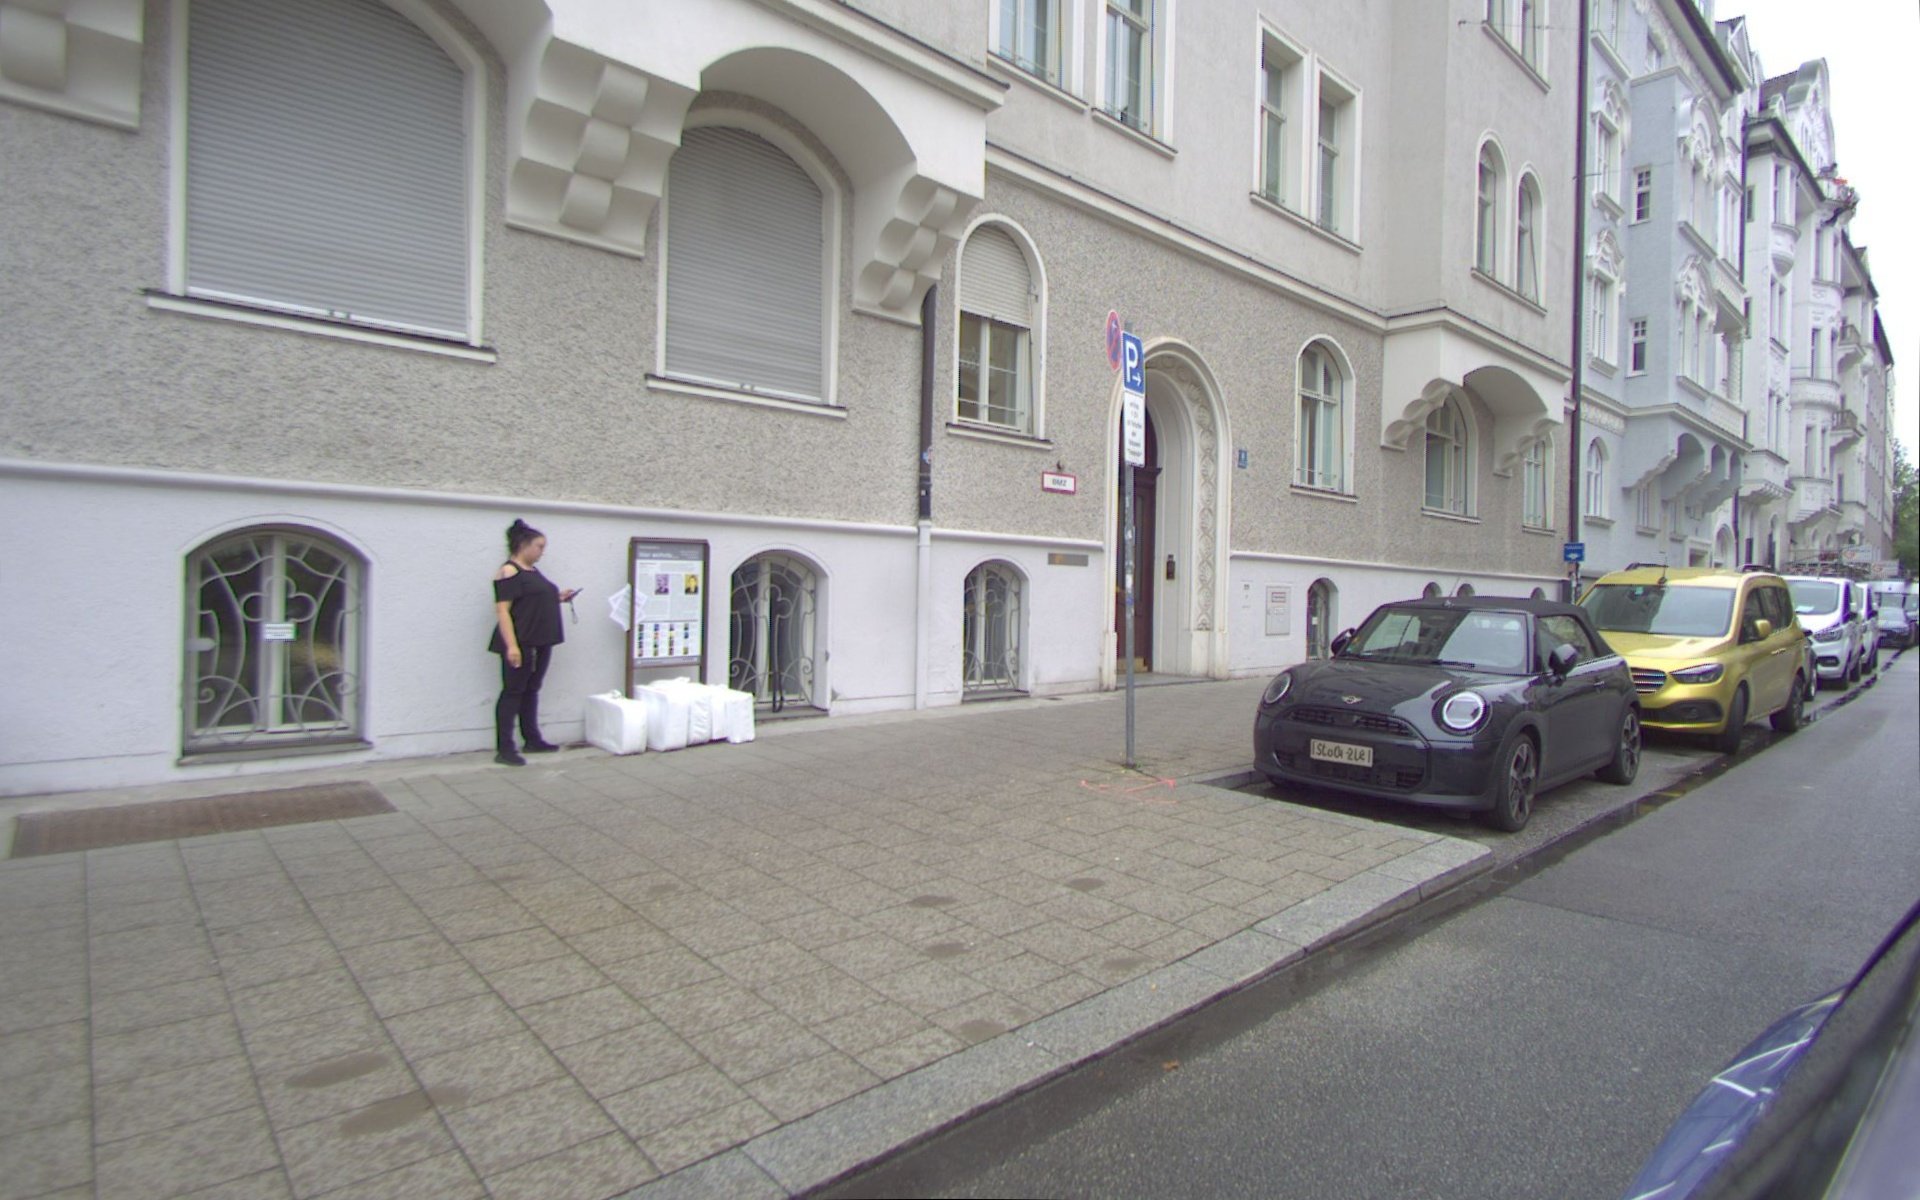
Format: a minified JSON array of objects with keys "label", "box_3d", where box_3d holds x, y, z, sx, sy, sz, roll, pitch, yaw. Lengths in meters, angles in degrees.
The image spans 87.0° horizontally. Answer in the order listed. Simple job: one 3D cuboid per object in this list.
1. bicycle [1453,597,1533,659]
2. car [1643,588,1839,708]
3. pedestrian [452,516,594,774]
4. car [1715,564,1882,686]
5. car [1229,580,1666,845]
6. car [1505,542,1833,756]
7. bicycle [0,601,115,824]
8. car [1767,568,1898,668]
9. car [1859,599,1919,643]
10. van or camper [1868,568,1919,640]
[{"label":"bicycle","box_3d":[10.294,0.521,19.519,2.002,1.107,0.695,0,3,-43]},{"label":"car","box_3d":[11.428,0.602,14.724,3.719,1.503,1.634,0,1,-43]},{"label":"pedestrian","box_3d":[-3.118,0.282,7.286,0.680,1.757,0.736,1,4,2]},{"label":"car","box_3d":[15.627,0.377,18.761,1.960,1.961,4.913,2,1,44]},{"label":"car","box_3d":[3.804,0.628,7.591,3.830,1.475,1.666,0,1,-43]},{"label":"car","box_3d":[7.934,0.422,11.125,4.736,1.876,1.854,0,1,-41]},{"label":"bicycle","box_3d":[-5.647,0.574,4.982,2.244,1.107,0.695,0,3,-43]},{"label":"car","box_3d":[20.093,0.349,23.224,1.960,2.039,4.913,2,1,44]},{"label":"car","box_3d":[33.278,0.708,35.973,1.755,1.452,4.021,2,1,45]},{"label":"van or camper","box_3d":[37.521,0.128,40.024,5.368,2.670,1.955,0,1,-44]}]
